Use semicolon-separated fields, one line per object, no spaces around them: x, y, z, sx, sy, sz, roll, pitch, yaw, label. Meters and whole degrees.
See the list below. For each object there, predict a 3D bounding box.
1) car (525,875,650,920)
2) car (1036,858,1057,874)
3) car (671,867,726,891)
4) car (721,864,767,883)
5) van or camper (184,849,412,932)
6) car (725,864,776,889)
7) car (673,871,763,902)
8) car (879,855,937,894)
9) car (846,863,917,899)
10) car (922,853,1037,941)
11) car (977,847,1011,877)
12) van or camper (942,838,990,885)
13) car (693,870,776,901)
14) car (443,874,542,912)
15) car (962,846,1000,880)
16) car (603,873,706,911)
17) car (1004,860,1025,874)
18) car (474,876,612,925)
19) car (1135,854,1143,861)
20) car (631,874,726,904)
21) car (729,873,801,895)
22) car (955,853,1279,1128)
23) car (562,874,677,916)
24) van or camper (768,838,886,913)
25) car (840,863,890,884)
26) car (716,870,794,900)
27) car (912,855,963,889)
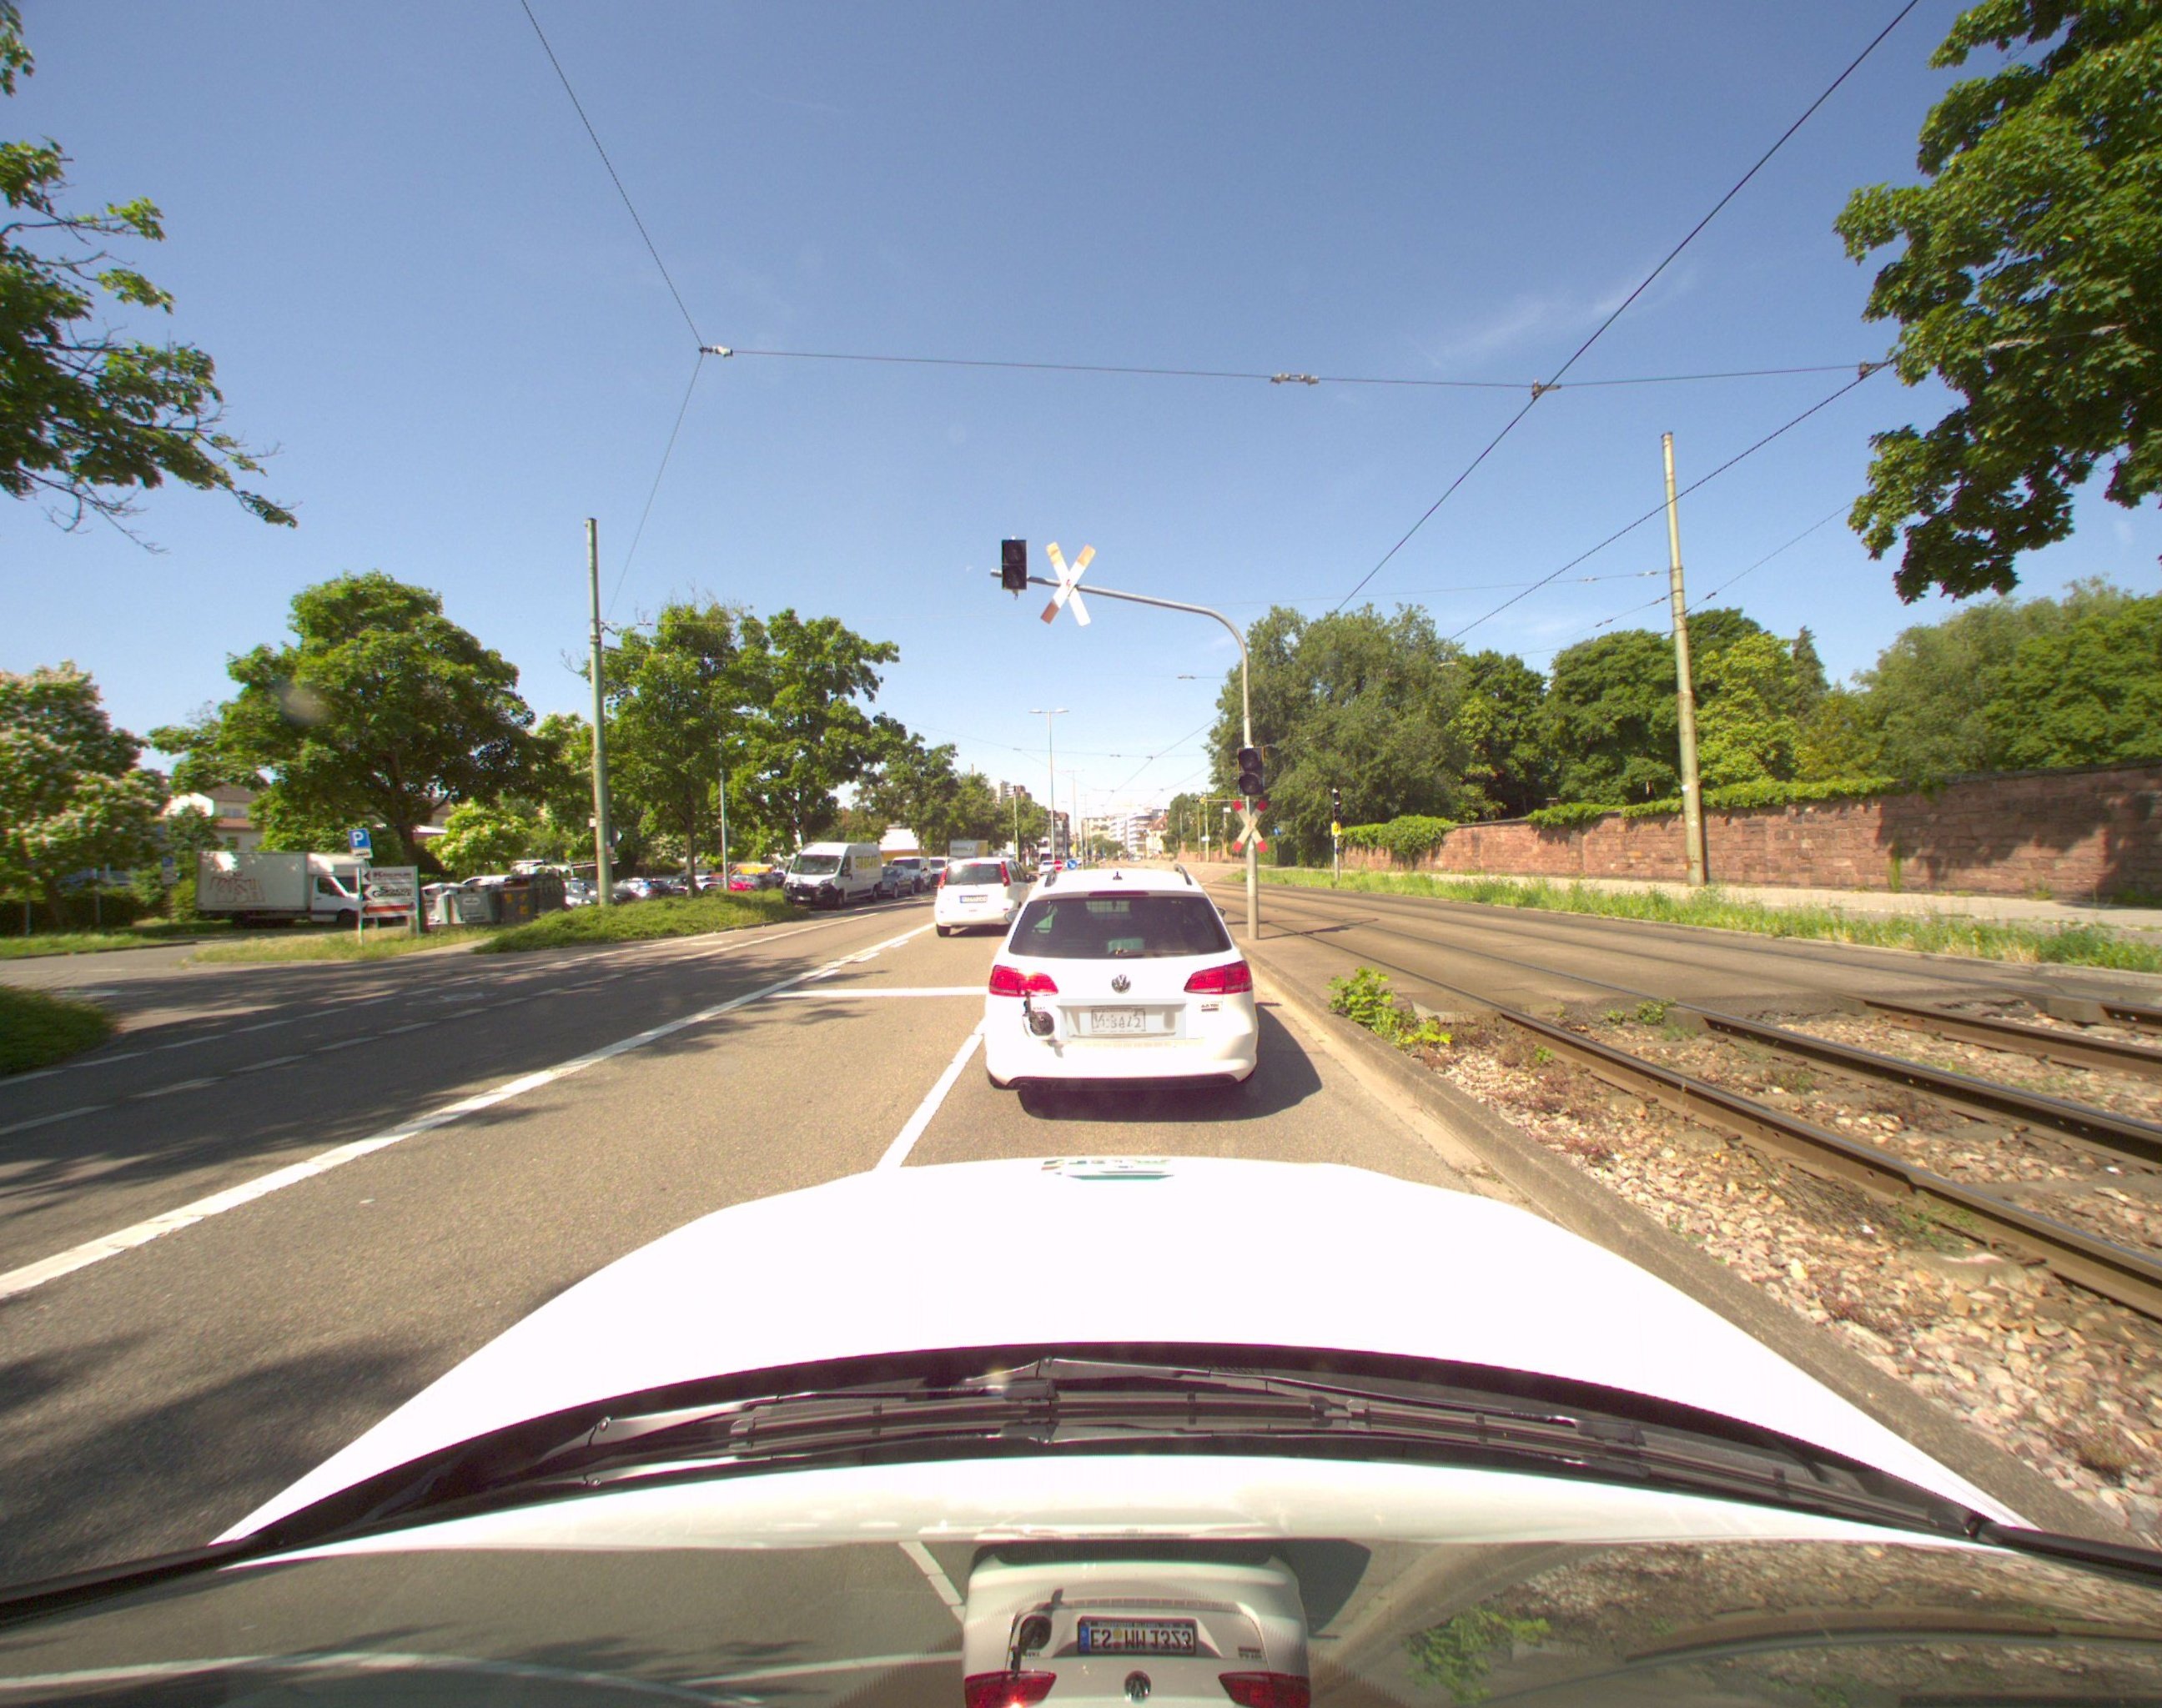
-19.891;1.726;32.925;3.974;1.544;1.663;-3;-1;-1;car
-3.493;1.166;82.316;1.721;1.465;4.002;-2;0;2;car
-33.794;2.234;72.017;3.976;2.003;1.909;-1;0;-2;car
-43.505;2.491;105.199;4.915;2.174;2.099;-3;-1;-2;car
-32.593;1.469;34.111;6.928;3.244;2.581;-1;0;-1;van or camper
-31.209;2.099;76.970;3.976;2.200;1.909;-1;0;-2;car
-19.506;1.753;43.889;3.973;1.409;1.733;-3;0;1;car
-9.360;1.057;44.516;2.190;1.940;5.180;-3;0;-2;car
-9.231;1.195;38.163;1.925;1.454;4.887;-3;0;2;car
-1.980;0.799;17.031;1.723;1.596;4.013;-1;0;2;car
-7.883;0.712;74.443;2.187;2.630;5.982;-1;0;2;car
-8.376;0.521;59.798;2.186;3.241;6.777;-1;0;3;van or camper
-19.695;1.789;46.385;3.973;1.544;1.664;-3;0;1;car
-31.841;2.093;44.125;3.976;1.891;1.784;-1;0;-2;car
-8.245;0.707;67.730;2.187;2.668;6.082;-1;0;2;car
-20.256;1.793;38.791;3.973;1.544;1.664;-3;-1;1;car
-7.377;1.412;90.621;1.597;1.490;4.622;-1;0;3;car
-19.994;1.715;30.375;3.974;1.544;1.663;-3;-1;-1;car
18.275;1.009;257.505;2.118;2.013;5.285;-3;0;2;car
-20.273;1.756;41.127;3.902;1.271;1.664;-3;-1;1;car
-19.929;1.855;51.437;3.874;1.153;1.664;-3;-1;1;car
0.278;0.743;6.378;1.771;1.490;3.849;0;0;2;car
-20.090;1.763;35.526;3.974;1.544;1.663;-3;-1;-1;car
-9.684;0.755;31.758;2.248;2.514;6.152;-3;0;3;van or camper
-19.505;1.731;73.543;3.974;1.694;1.663;-3;-1;-1;car
-19.637;1.848;49.155;3.973;1.544;1.664;-3;-1;1;car
-9.004;1.095;51.517;2.189;1.940;5.184;-3;0;0;car
